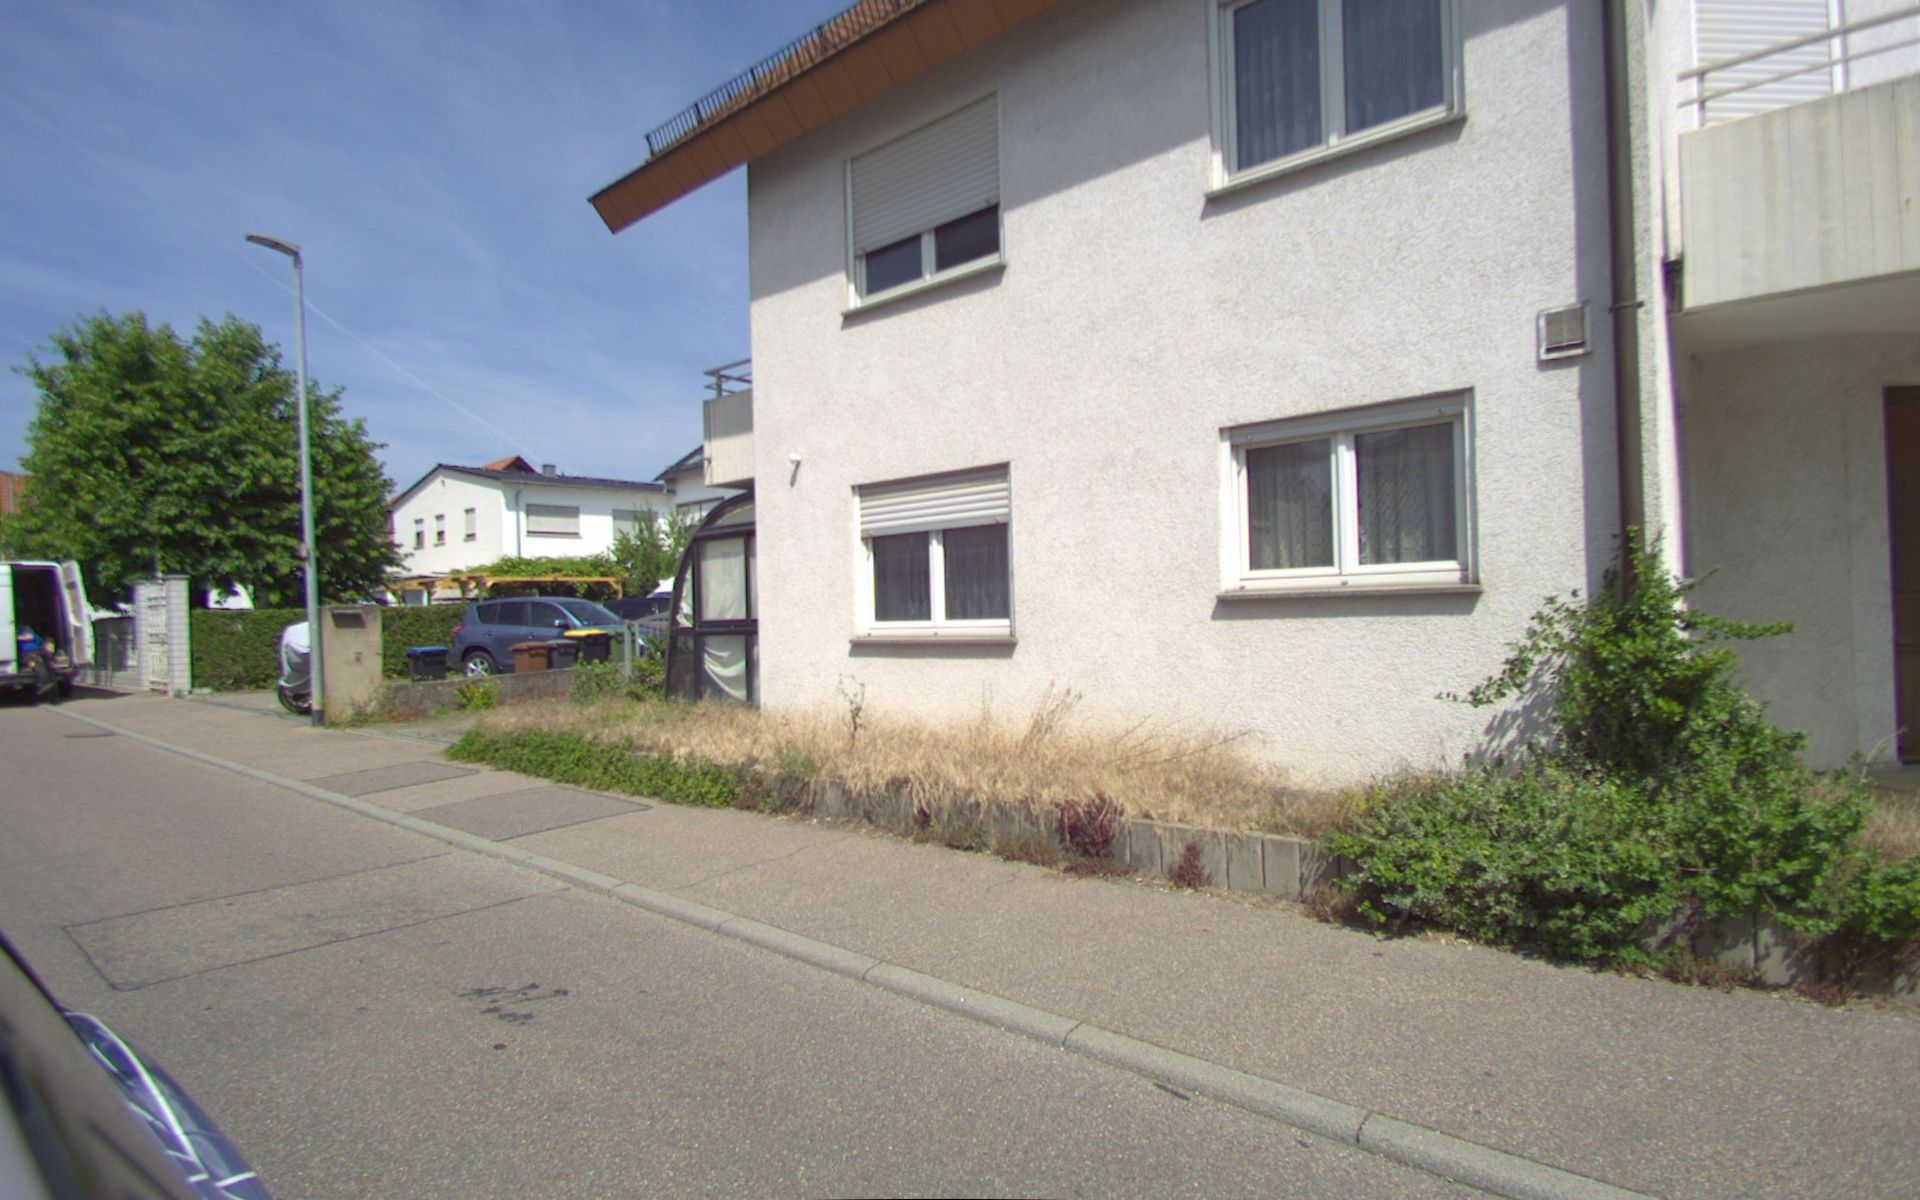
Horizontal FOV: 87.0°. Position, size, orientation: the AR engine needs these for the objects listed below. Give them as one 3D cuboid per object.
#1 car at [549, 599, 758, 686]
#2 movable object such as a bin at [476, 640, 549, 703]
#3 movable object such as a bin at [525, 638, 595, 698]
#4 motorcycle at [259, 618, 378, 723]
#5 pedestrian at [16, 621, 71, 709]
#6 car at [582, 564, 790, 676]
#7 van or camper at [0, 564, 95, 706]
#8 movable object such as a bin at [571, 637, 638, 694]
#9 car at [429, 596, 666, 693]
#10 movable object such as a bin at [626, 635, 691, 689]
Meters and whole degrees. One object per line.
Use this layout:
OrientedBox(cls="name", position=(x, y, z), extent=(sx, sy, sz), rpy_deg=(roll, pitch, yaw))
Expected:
OrientedBox(cls="car", position=(-6.469, 0.878, 21.363), extent=(4.082, 1.691, 1.720), rpy_deg=(-2, -1, 24))
OrientedBox(cls="movable object such as a bin", position=(-7.038, 1.108, 15.919), extent=(0.773, 0.912, 0.792), rpy_deg=(-2, -1, 40))
OrientedBox(cls="movable object such as a bin", position=(-6.536, 1.100, 16.545), extent=(0.773, 0.912, 0.792), rpy_deg=(-2, -1, 40))
OrientedBox(cls="motorcycle", position=(-9.357, 0.979, 14.719), extent=(2.351, 1.403, 0.775), rpy_deg=(-2, -1, 40))
OrientedBox(cls="pedestrian", position=(-16.787, 1.181, 18.537), extent=(0.725, 1.529, 0.567), rpy_deg=(-2, 2, 39))
OrientedBox(cls="car", position=(-6.739, 0.448, 25.320), extent=(1.964, 2.511, 4.755), rpy_deg=(-2, -1, 39))
OrientedBox(cls="van or camper", position=(-19.924, 0.715, 20.755), extent=(6.800, 2.591, 2.163), rpy_deg=(-2, 0, 40))
OrientedBox(cls="movable object such as a bin", position=(-6.036, 1.095, 17.183), extent=(0.773, 0.912, 0.792), rpy_deg=(-2, -1, 40))
OrientedBox(cls="car", position=(-7.778, 0.830, 19.172), extent=(3.903, 1.691, 1.765), rpy_deg=(-1, -1, 16))
OrientedBox(cls="movable object such as a bin", position=(-5.346, 1.085, 17.927), extent=(0.772, 0.912, 0.792), rpy_deg=(-2, -1, 38))
